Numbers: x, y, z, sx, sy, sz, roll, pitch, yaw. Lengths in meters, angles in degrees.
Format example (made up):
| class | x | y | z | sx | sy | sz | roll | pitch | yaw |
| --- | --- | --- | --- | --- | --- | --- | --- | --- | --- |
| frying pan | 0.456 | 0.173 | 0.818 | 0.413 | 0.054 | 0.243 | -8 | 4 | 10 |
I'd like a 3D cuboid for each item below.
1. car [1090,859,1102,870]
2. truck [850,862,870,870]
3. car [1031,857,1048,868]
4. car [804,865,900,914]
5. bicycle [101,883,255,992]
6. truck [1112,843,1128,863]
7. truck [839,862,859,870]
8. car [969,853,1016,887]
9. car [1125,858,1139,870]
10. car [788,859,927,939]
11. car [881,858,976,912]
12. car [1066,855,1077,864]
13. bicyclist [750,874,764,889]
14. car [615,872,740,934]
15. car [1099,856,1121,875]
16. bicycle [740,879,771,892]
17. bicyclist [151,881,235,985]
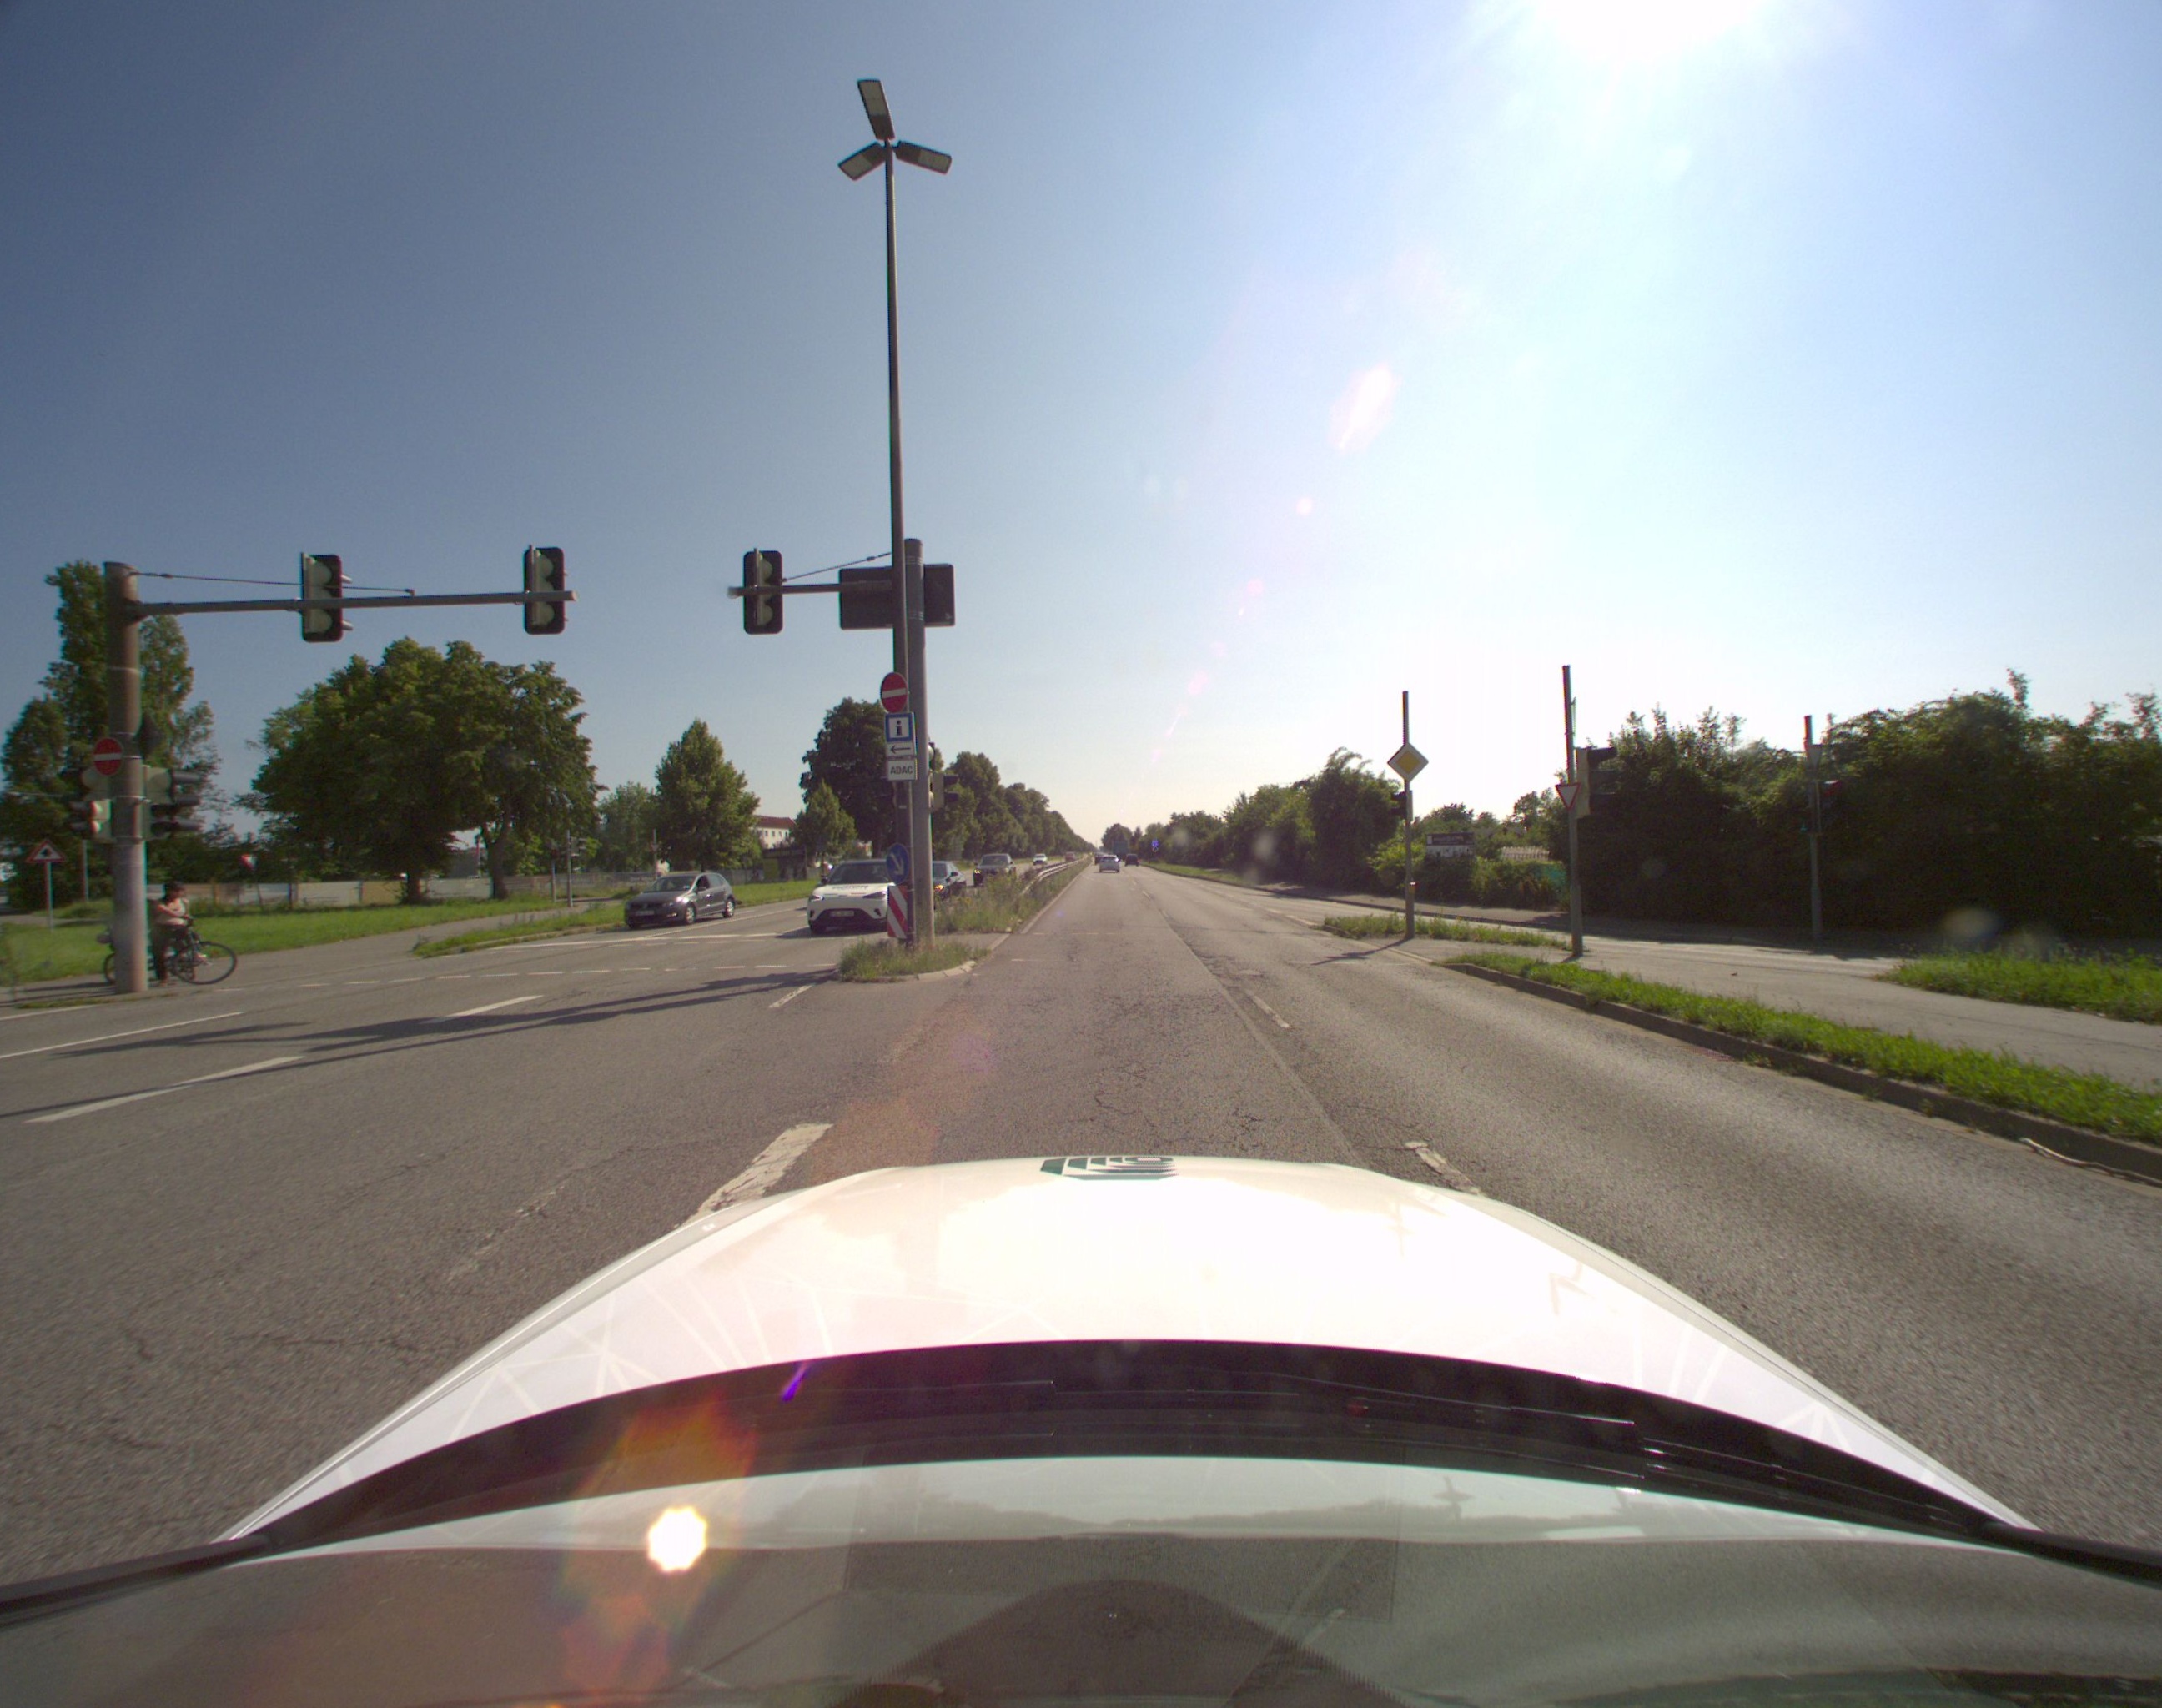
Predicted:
| class | x | y | z | sx | sy | sz | roll | pitch | yaw |
| --- | --- | --- | --- | --- | --- | --- | --- | --- | --- |
| car | 2.064 | 1.397 | 109.009 | 1.566 | 1.414 | 3.279 | -2 | 0 | 2 |
| truck | -59.085 | 3.148 | 217.785 | 4.485 | 2.014 | 2.052 | -1 | -1 | 1 |
| car | -5.669 | 1.144 | 112.136 | 1.987 | 1.502 | 4.091 | -2 | 0 | 0 |
| car | -7.956 | 1.178 | 28.723 | 1.922 | 1.437 | 4.270 | -2 | 0 | 3 |
| bicycle | -15.474 | 1.355 | 13.940 | 2.765 | 1.670 | 1.143 | -1 | 0 | 29 |
| truck | 7.159 | -0.179 | 150.291 | 2.881 | 3.428 | 9.173 | -2 | 0 | 2 |
| truck | -59.683 | 3.094 | 209.161 | 4.485 | 2.014 | 2.052 | -1 | -1 | 1 |
| car | -4.479 | 0.799 | 41.861 | 1.840 | 1.594 | 4.617 | -1 | 0 | 1 |
| car | 6.111 | 1.217 | 98.086 | 1.566 | 1.414 | 3.279 | -1 | -1 | 2 |
| car | -5.106 | 0.965 | 19.266 | 2.003 | 1.610 | 4.212 | -2 | 0 | 1 |
| car | -4.692 | 0.903 | 25.811 | 1.809 | 1.485 | 4.898 | -1 | 0 | 3 |
| car | -1.624 | 0.983 | 140.672 | 1.906 | 1.502 | 4.091 | -2 | 0 | 0 |
| bicyclist | -26.275 | 2.212 | 65.992 | 0.604 | 1.216 | 0.897 | -2 | 0 | 19 |
| car | -11.288 | 1.324 | 23.074 | 1.480 | 1.414 | 3.764 | -4 | 0 | 2 |
| car | 2.457 | 0.953 | 68.793 | 1.791 | 1.552 | 4.003 | 0 | 0 | 2 |
| bicycle | -26.340 | 2.560 | 65.909 | 0.830 | 0.950 | 2.524 | -1 | 0 | 19 |
| bicyclist | -14.663 | 1.271 | 13.454 | 0.854 | 1.618 | 0.763 | -1 | -1 | 29 |
